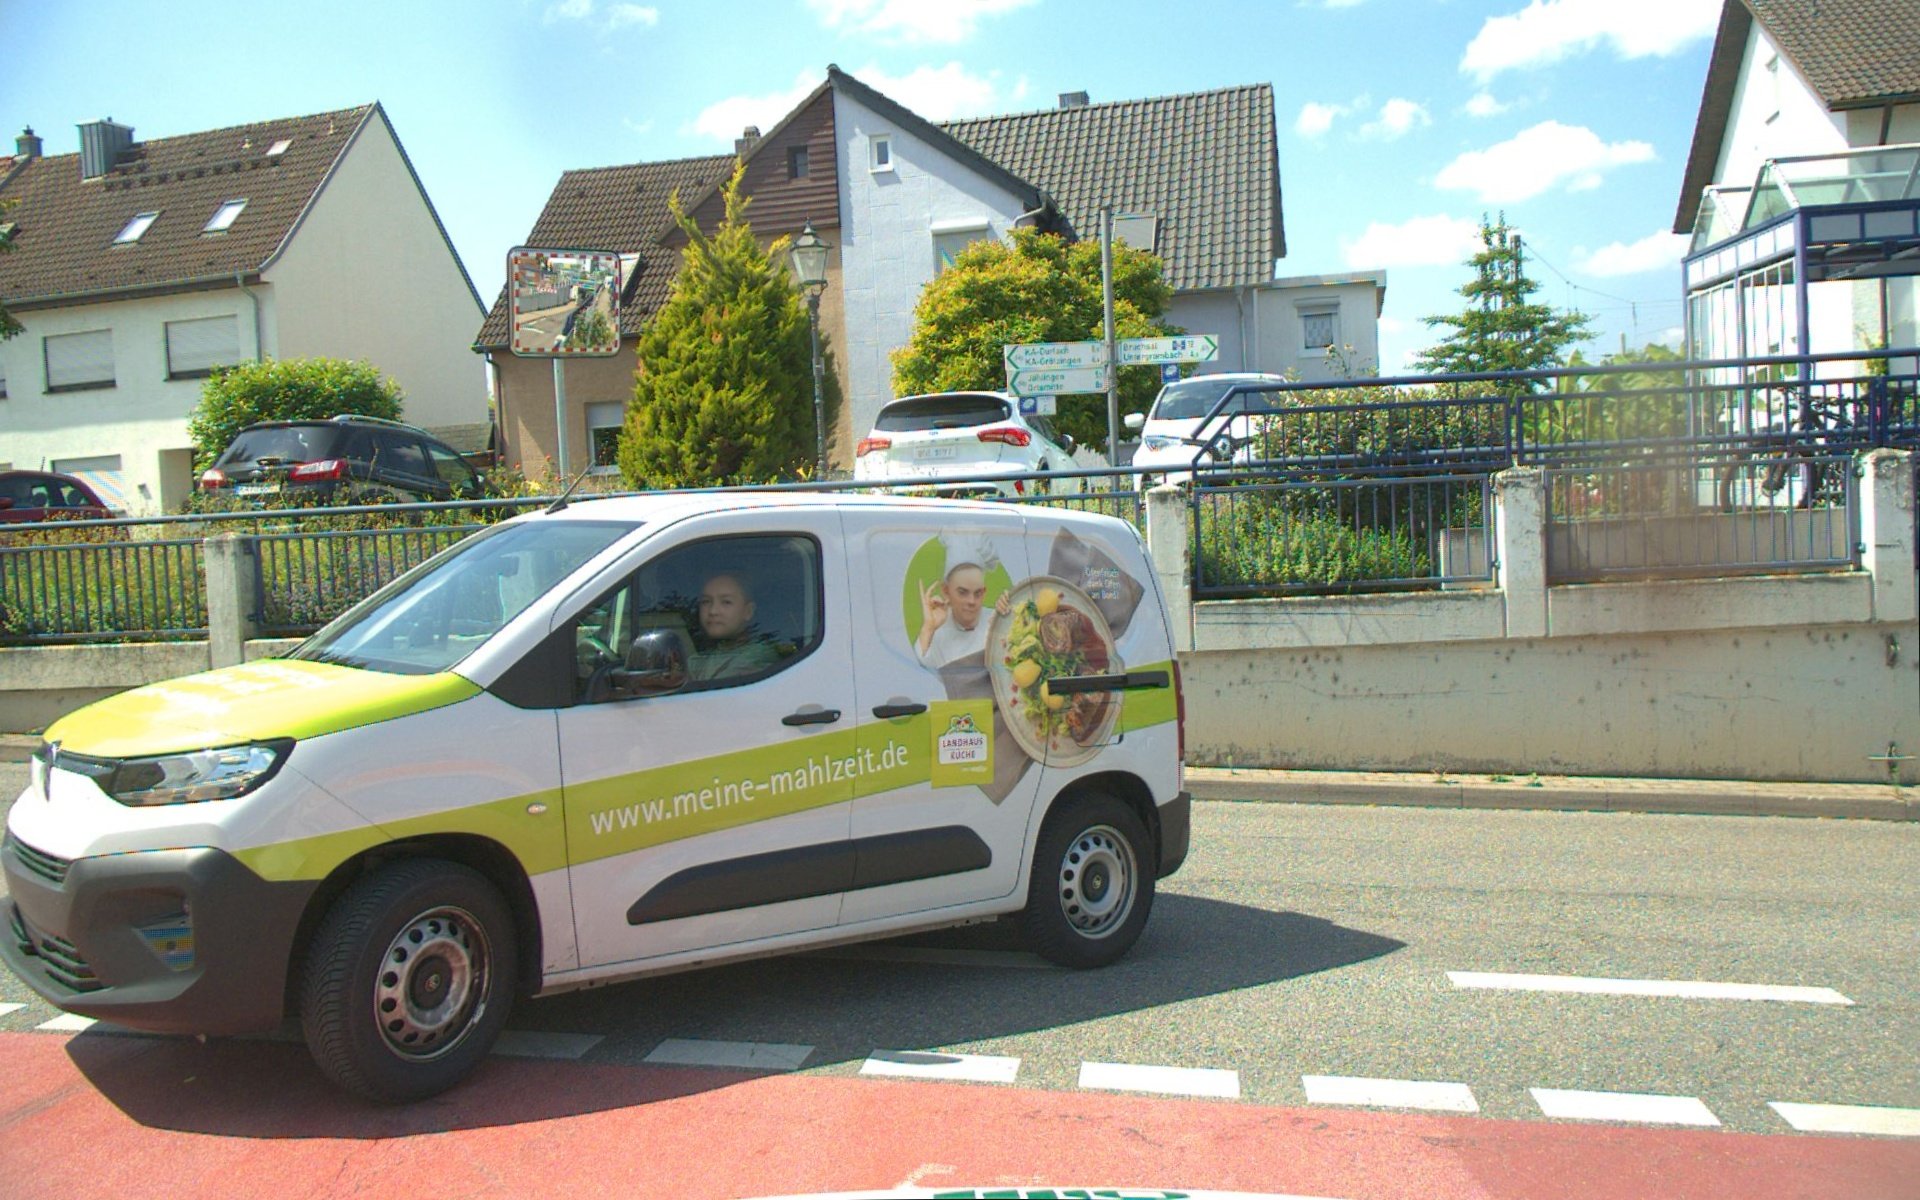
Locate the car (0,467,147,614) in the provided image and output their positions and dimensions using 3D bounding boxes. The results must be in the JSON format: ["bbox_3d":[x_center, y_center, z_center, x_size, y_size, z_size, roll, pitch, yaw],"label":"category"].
[{"bbox_3d":[-11.369,-0.690,18.966,1.827,1.614,3.613,1,1,11],"label":"car"}]

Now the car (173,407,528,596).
[{"bbox_3d":[-6.528,-1.017,18.236,1.827,1.828,4.004,1,1,11],"label":"car"}]

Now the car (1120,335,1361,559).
[{"bbox_3d":[2.746,-1.337,15.909,1.951,1.828,4.201,1,1,11],"label":"car"}]

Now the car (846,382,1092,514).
[{"bbox_3d":[0.200,-1.446,16.405,1.786,1.037,3.463,1,1,11],"label":"car"}]

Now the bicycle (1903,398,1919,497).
[{"bbox_3d":[9.955,-1.554,16.585,0.365,1.012,1.968,-1,3,15],"label":"bicycle"}]

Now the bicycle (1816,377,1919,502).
[{"bbox_3d":[8.181,-1.387,14.609,0.325,1.012,2.078,-2,3,5],"label":"bicycle"}]

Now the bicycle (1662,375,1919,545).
[{"bbox_3d":[6.246,-1.019,12.043,2.070,1.145,0.333,-2,2,5],"label":"bicycle"}]

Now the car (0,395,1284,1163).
[{"bbox_3d":[-0.975,0.410,6.184,4.514,1.887,1.793,0,2,-39],"label":"car"}]

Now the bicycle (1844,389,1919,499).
[{"bbox_3d":[9.168,-1.507,16.285,0.365,1.012,1.968,-1,3,15],"label":"bicycle"}]

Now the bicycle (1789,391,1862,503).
[{"bbox_3d":[8.477,-1.476,16.234,0.446,1.012,1.888,-1,3,22],"label":"bicycle"}]
